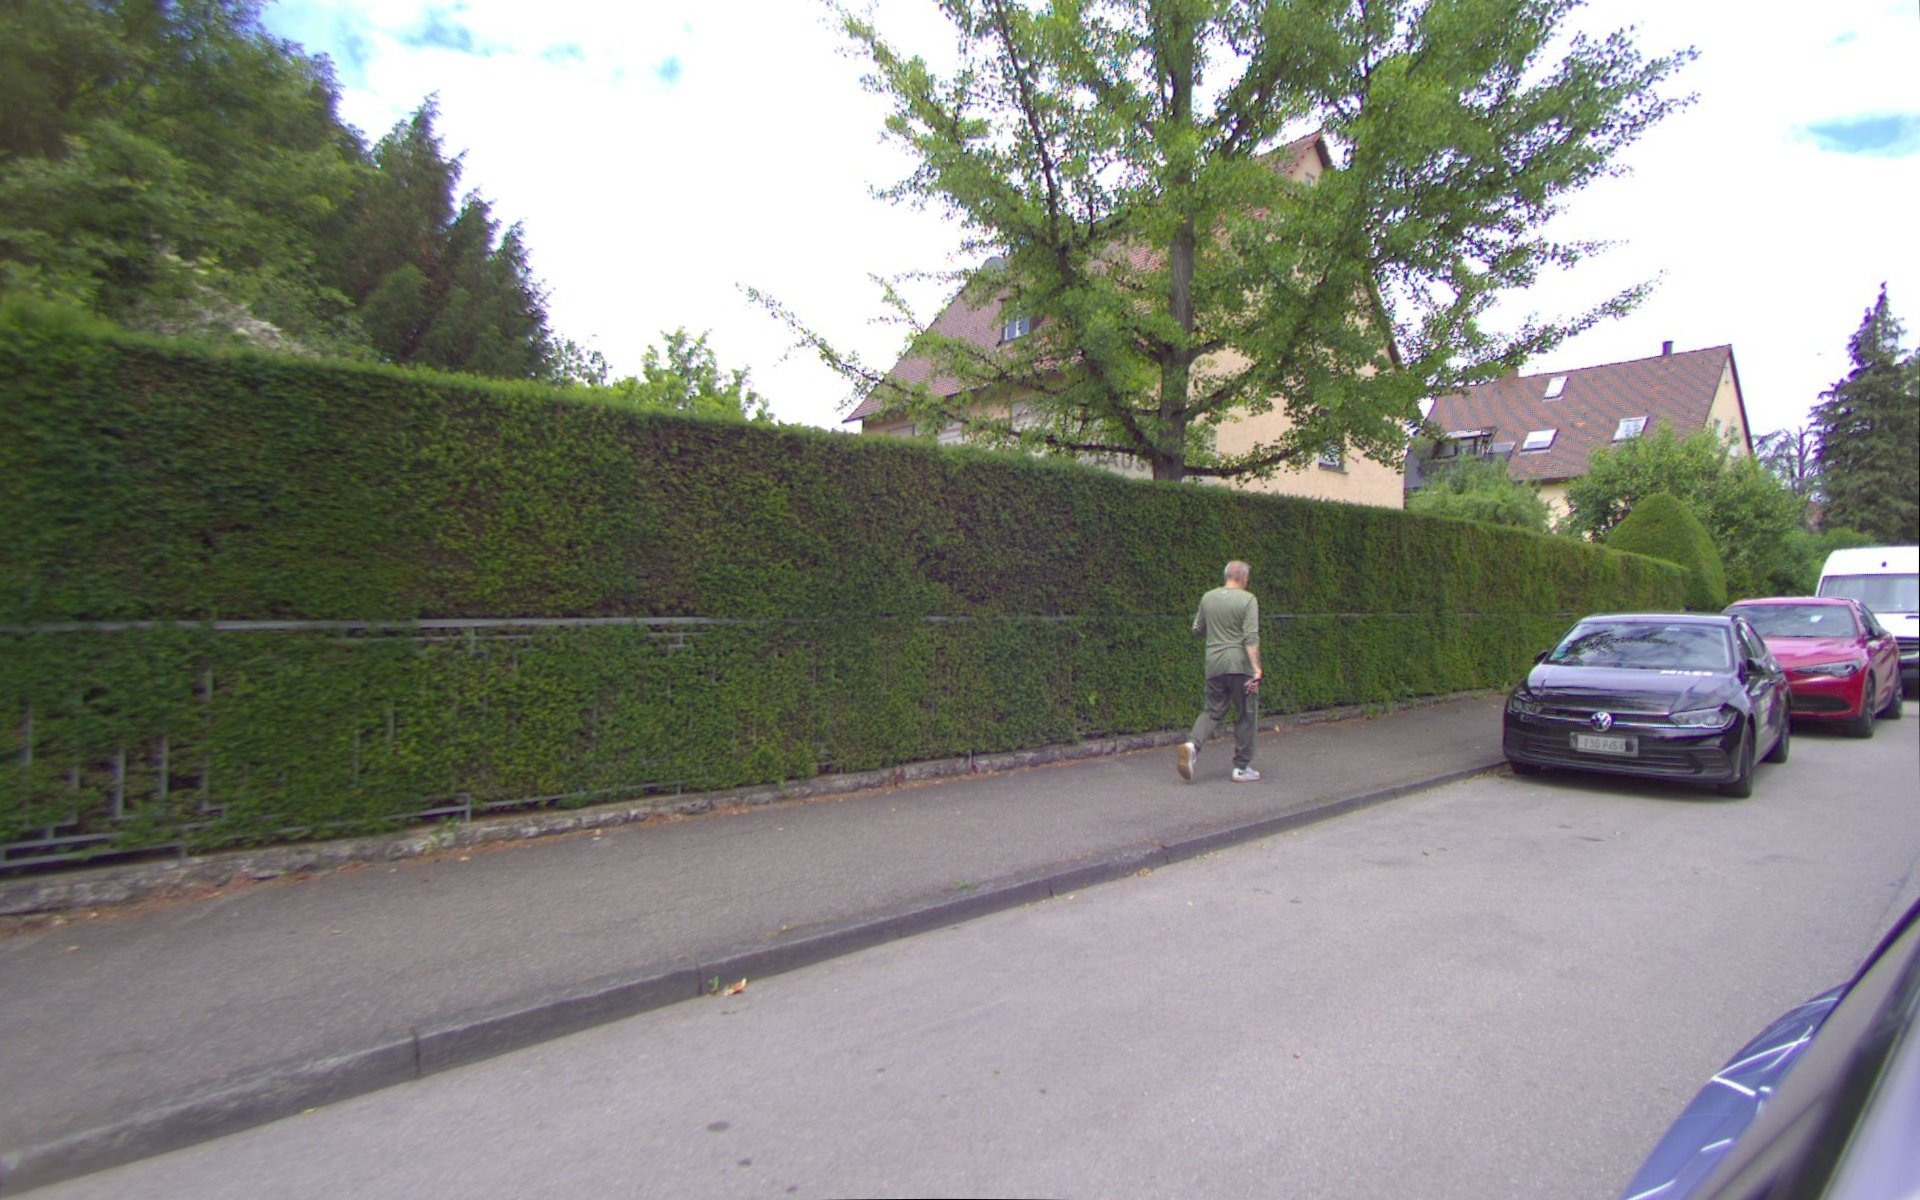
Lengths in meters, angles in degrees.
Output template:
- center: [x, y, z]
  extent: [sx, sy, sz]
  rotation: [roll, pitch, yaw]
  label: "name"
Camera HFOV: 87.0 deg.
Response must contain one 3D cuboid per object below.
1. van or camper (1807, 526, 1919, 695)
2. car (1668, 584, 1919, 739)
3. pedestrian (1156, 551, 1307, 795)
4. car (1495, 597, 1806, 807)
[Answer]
- center: [17.332, 0.176, 18.509]
  extent: [6.921, 2.653, 2.043]
  rotation: [0, -1, -44]
  label: "van or camper"
- center: [11.034, 0.667, 13.138]
  extent: [4.681, 1.600, 1.892]
  rotation: [1, 2, -41]
  label: "car"
- center: [2.065, 0.509, 7.692]
  extent: [0.902, 1.719, 0.670]
  rotation: [1, 1, -41]
  label: "pedestrian"
- center: [6.429, 0.732, 9.237]
  extent: [1.679, 1.424, 3.989]
  rotation: [3, 2, 44]
  label: "car"
